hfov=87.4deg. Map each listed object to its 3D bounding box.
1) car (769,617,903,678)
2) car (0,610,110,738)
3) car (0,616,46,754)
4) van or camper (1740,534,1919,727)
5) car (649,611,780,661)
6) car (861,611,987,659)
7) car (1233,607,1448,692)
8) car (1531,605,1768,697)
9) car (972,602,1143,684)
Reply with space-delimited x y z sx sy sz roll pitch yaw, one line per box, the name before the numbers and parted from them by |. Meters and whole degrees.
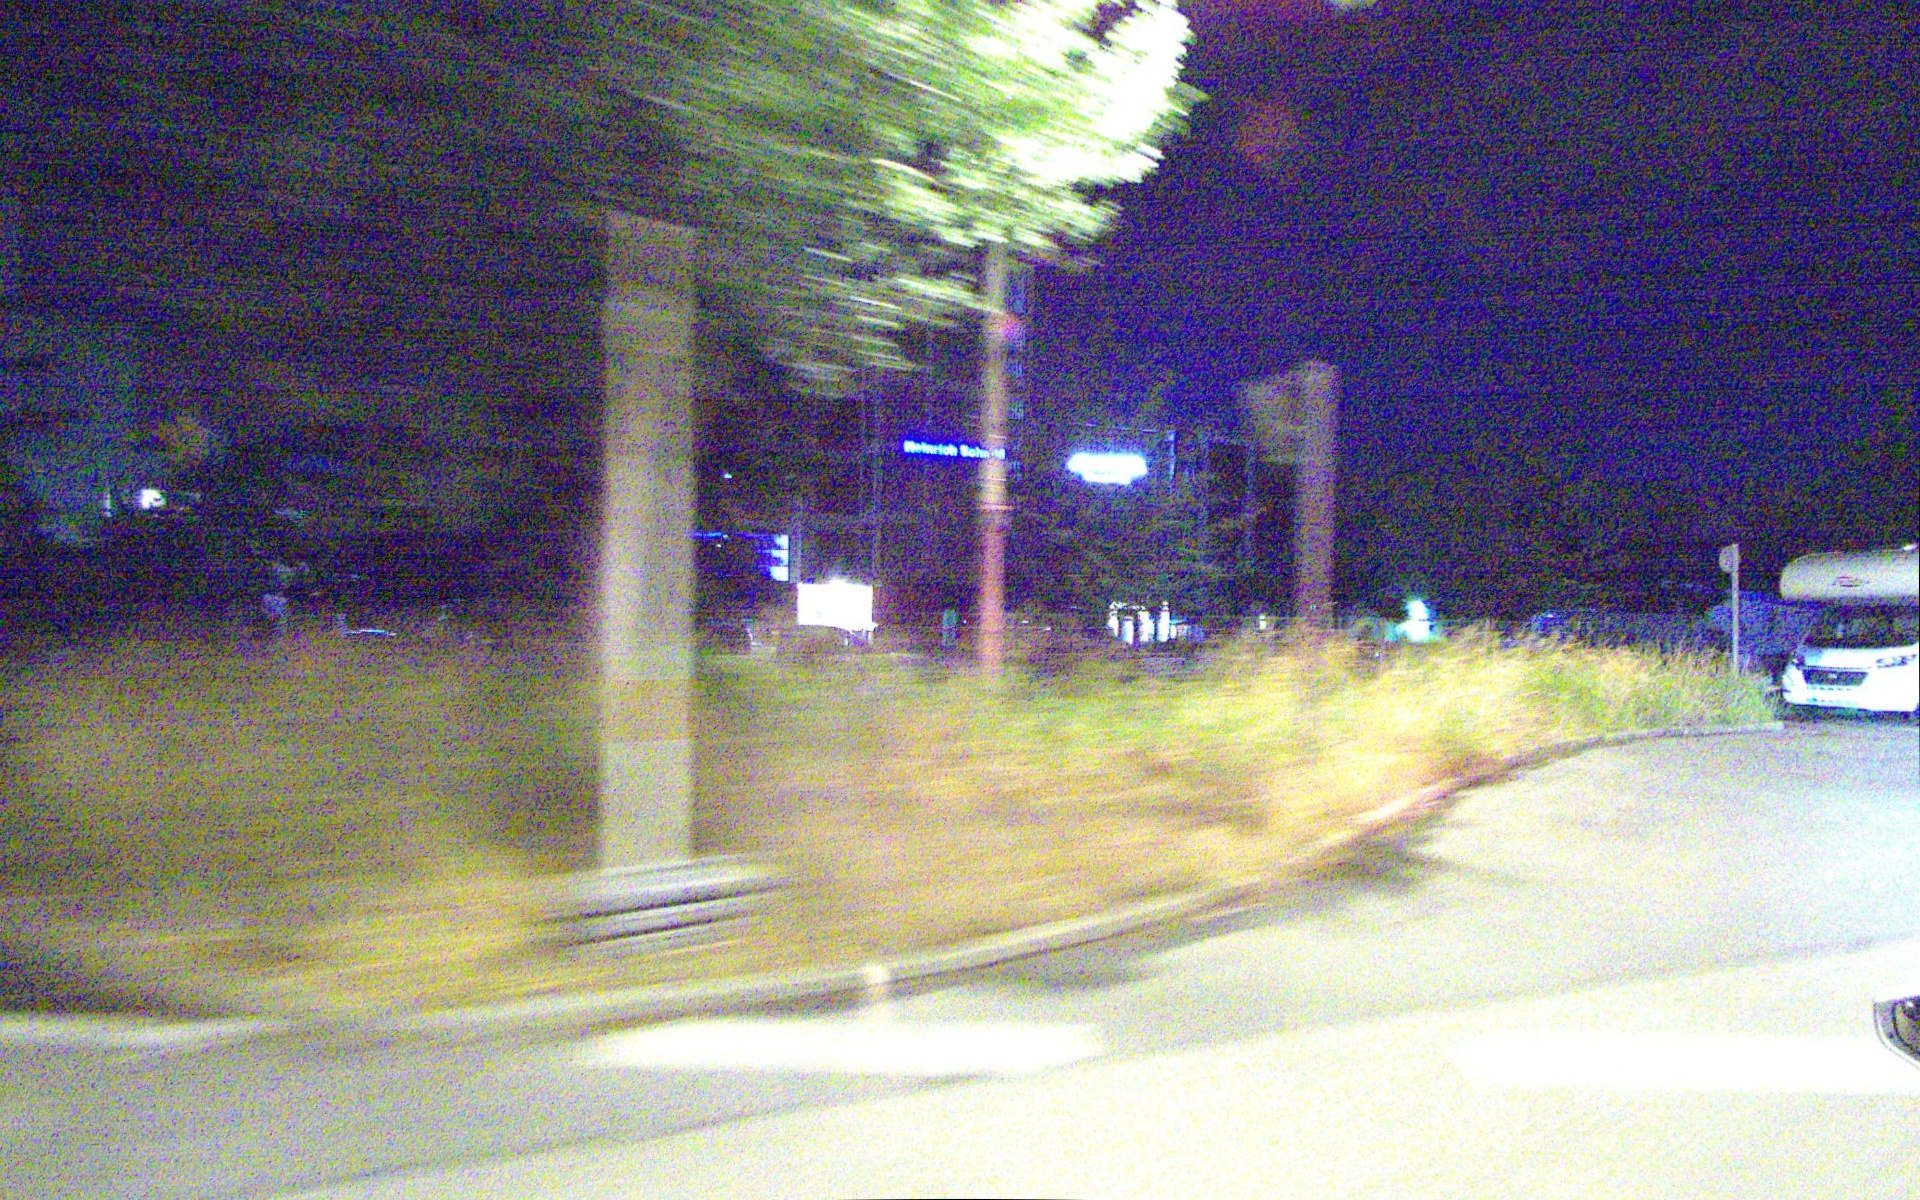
car | -4.343 1.657 35.730 4.392 1.910 2.000 1 2 4
car | -21.433 1.547 21.553 4.410 2.589 1.993 1 2 -17
car | -20.737 1.629 19.152 4.410 2.589 1.993 1 2 -17
van or camper | 18.383 0.605 18.752 7.331 3.135 2.516 2 -1 -20
car | -11.077 1.576 45.271 5.458 2.053 2.483 1 2 -22
car | -1.714 1.619 47.135 5.449 2.053 2.487 1 2 -17
car | 12.938 1.643 34.499 6.545 2.589 2.000 1 2 4
car | 23.676 1.712 34.715 6.545 2.880 2.000 1 2 4
car | 3.378 1.464 35.352 5.760 2.589 2.000 1 2 4
